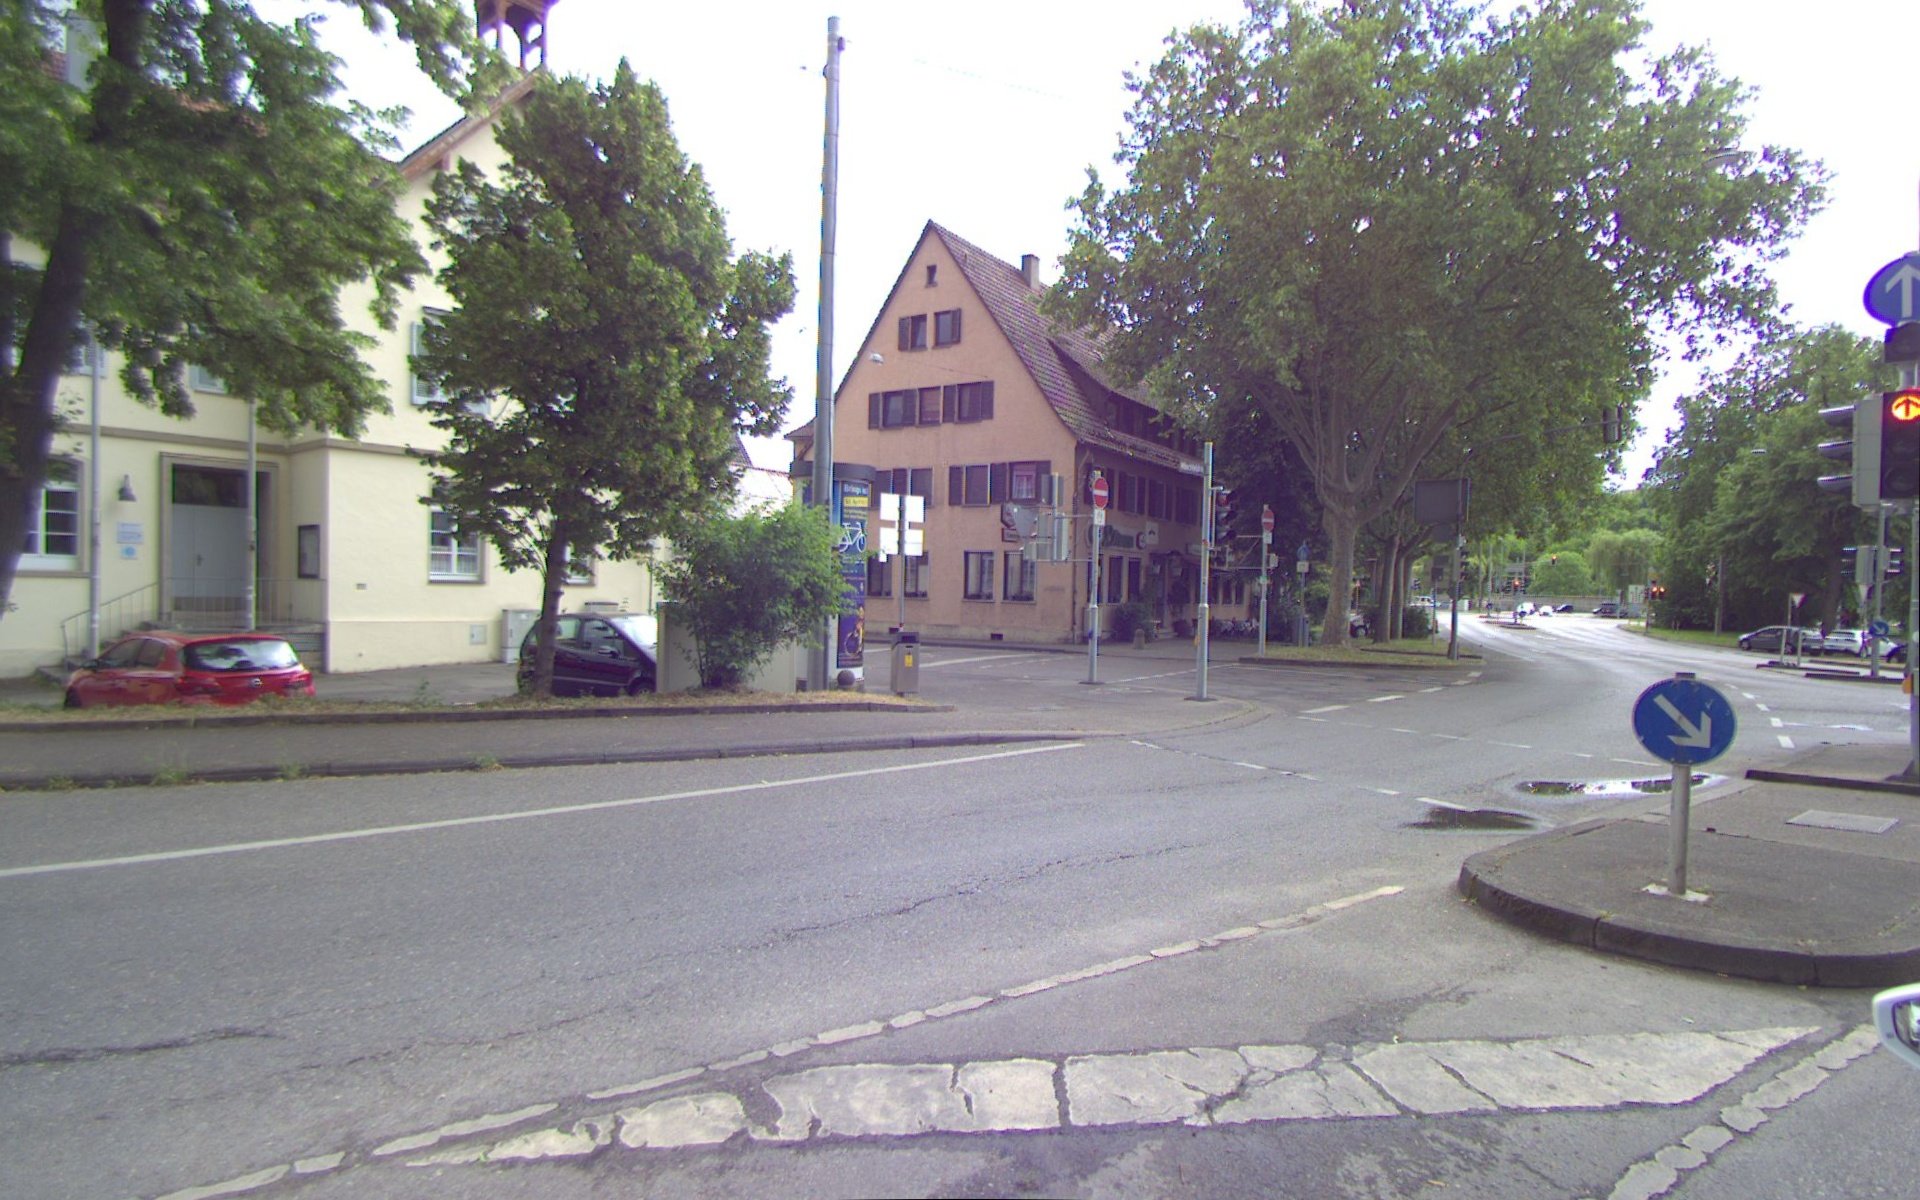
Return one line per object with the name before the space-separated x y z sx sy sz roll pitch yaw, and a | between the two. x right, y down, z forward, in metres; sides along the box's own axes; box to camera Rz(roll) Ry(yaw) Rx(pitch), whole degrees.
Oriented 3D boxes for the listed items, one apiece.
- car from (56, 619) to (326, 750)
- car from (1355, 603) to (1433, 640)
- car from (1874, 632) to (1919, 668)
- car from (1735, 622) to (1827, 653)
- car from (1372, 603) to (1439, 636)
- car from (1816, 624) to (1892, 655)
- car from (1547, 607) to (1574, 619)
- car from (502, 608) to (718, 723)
car | -10.171 1.014 13.254 3.492 1.397 1.605 2 0 30
car | 21.414 1.047 49.589 3.387 1.663 1.570 2 0 28
car | 39.574 2.075 40.950 1.442 1.412 3.596 2 0 3
car | 43.869 1.966 53.765 1.559 1.484 3.543 2 0 -17
car | 25.475 1.086 57.473 3.387 1.765 1.570 2 0 28
car | 47.308 2.079 53.166 3.342 1.484 1.543 2 0 -19
car | 108.241 2.313 181.092 3.928 2.040 1.996 2 0 30
car | -5.760 1.007 16.601 3.035 1.654 1.607 2 0 22
